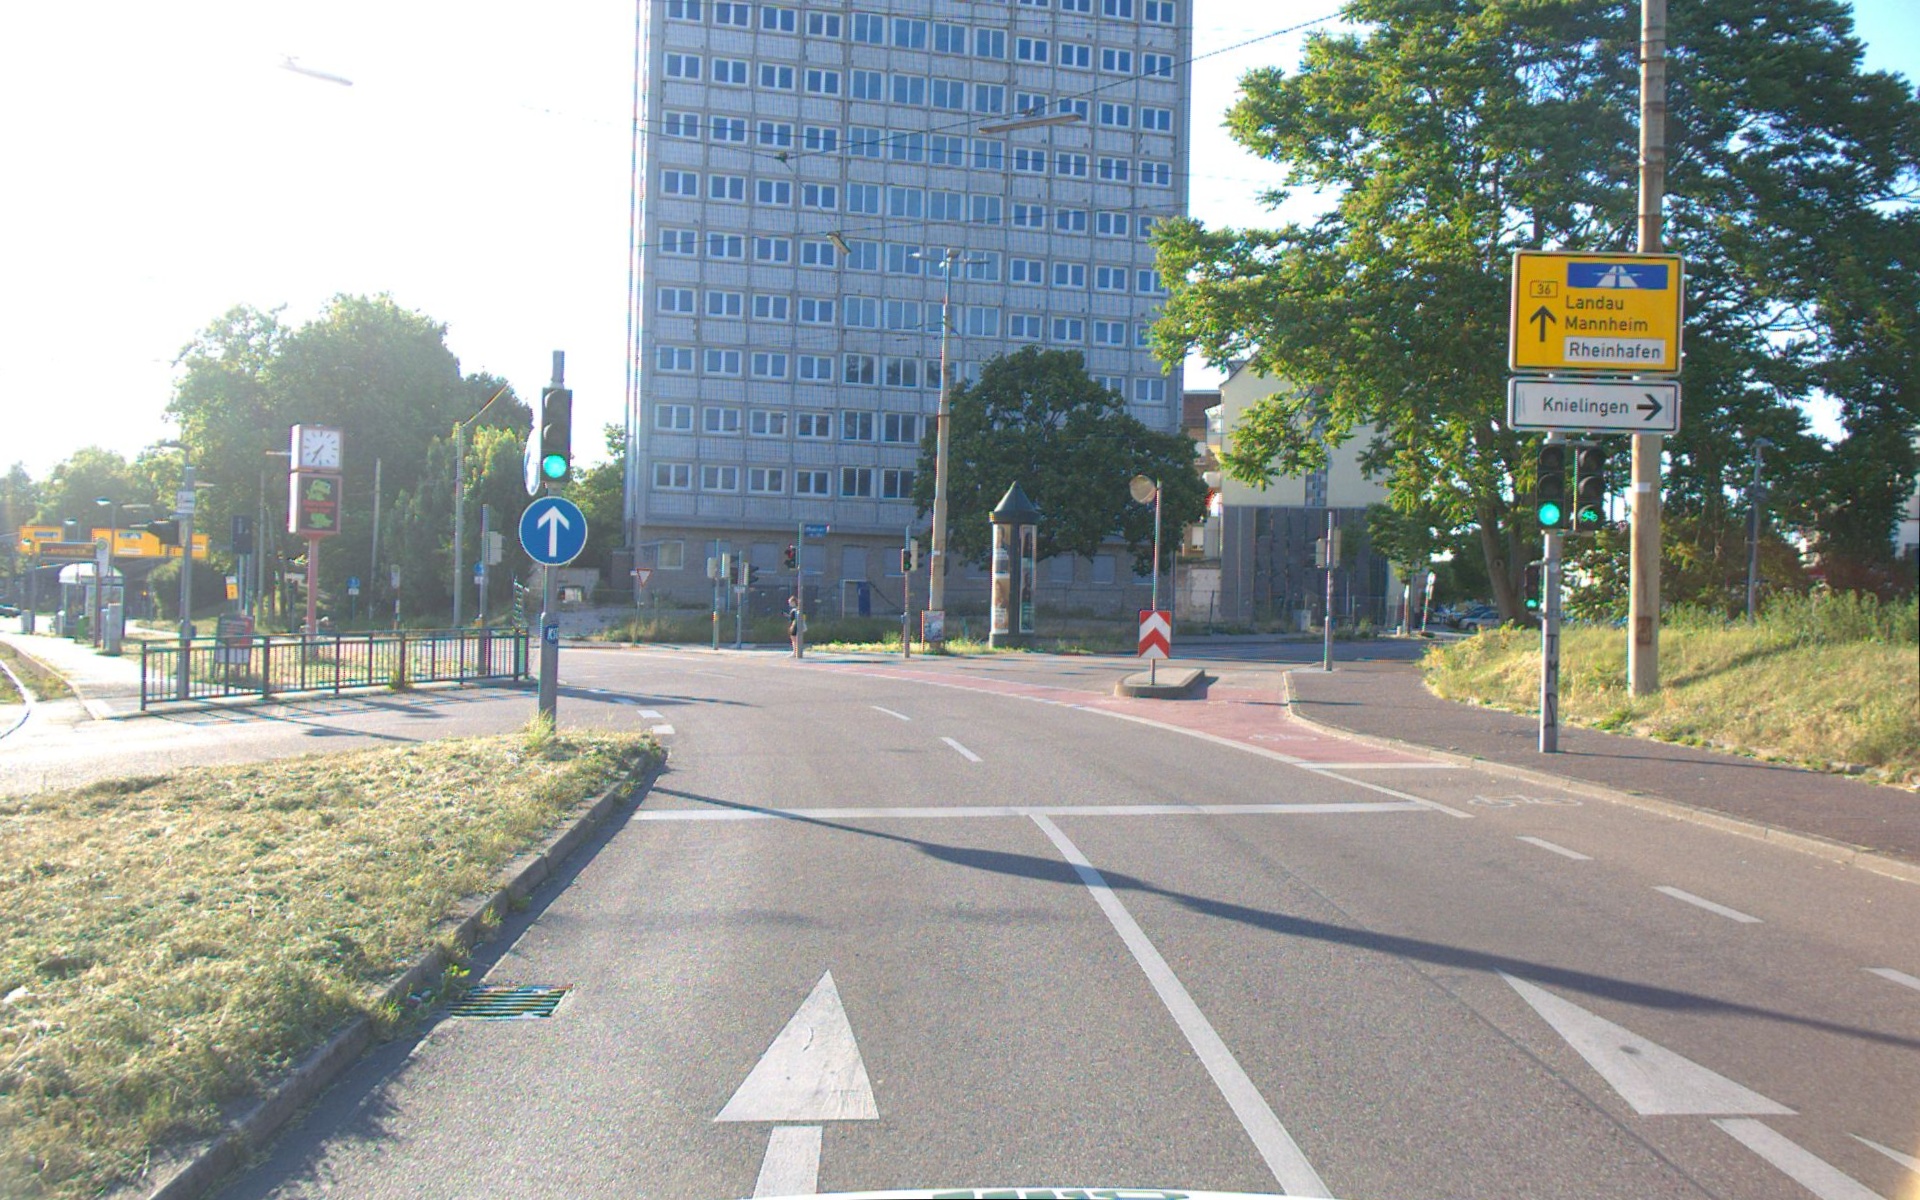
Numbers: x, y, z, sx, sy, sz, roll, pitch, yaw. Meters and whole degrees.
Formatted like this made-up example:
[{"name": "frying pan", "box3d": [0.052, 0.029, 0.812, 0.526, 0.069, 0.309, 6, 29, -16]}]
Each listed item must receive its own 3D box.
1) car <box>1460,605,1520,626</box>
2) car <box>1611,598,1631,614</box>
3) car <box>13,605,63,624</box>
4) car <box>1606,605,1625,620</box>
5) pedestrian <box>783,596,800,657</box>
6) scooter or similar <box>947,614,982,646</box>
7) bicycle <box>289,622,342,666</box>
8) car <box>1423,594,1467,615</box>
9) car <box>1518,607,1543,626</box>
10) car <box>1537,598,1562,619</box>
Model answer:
[{"name": "car", "box3d": [34.430, 1.001, 107.512, 3.623, 1.324, 1.512, 1, 0, 17]}, {"name": "car", "box3d": [64.999, 0.624, 162.676, 1.821, 1.570, 3.878, 0, 0, 22]}, {"name": "car", "box3d": [-108.593, 1.726, 194.831, 4.765, 2.049, 1.992, 2, 0, -15]}, {"name": "car", "box3d": [69.870, 1.337, 176.241, 1.821, 1.570, 4.000, 0, 0, 22]}, {"name": "pedestrian", "box3d": [-4.535, 0.704, 44.501, 0.427, 1.640, 0.629, 0, -1, -3]}, {"name": "scooter or similar", "box3d": [0.159, 1.139, 62.414, 1.274, 1.190, 0.326, 0, 0, -13]}, {"name": "bicycle", "box3d": [-14.798, 1.000, 38.033, 0.542, 0.934, 1.743, -1, 0, -1]}, {"name": "car", "box3d": [46.801, 0.435, 159.614, 3.905, 1.937, 1.865, 0, 0, 22]}, {"name": "car", "box3d": [46.338, 1.351, 134.370, 1.835, 1.484, 3.787, 0, 0, 21]}, {"name": "car", "box3d": [55.013, 0.827, 154.323, 1.822, 1.937, 3.997, 0, 0, 25]}]
